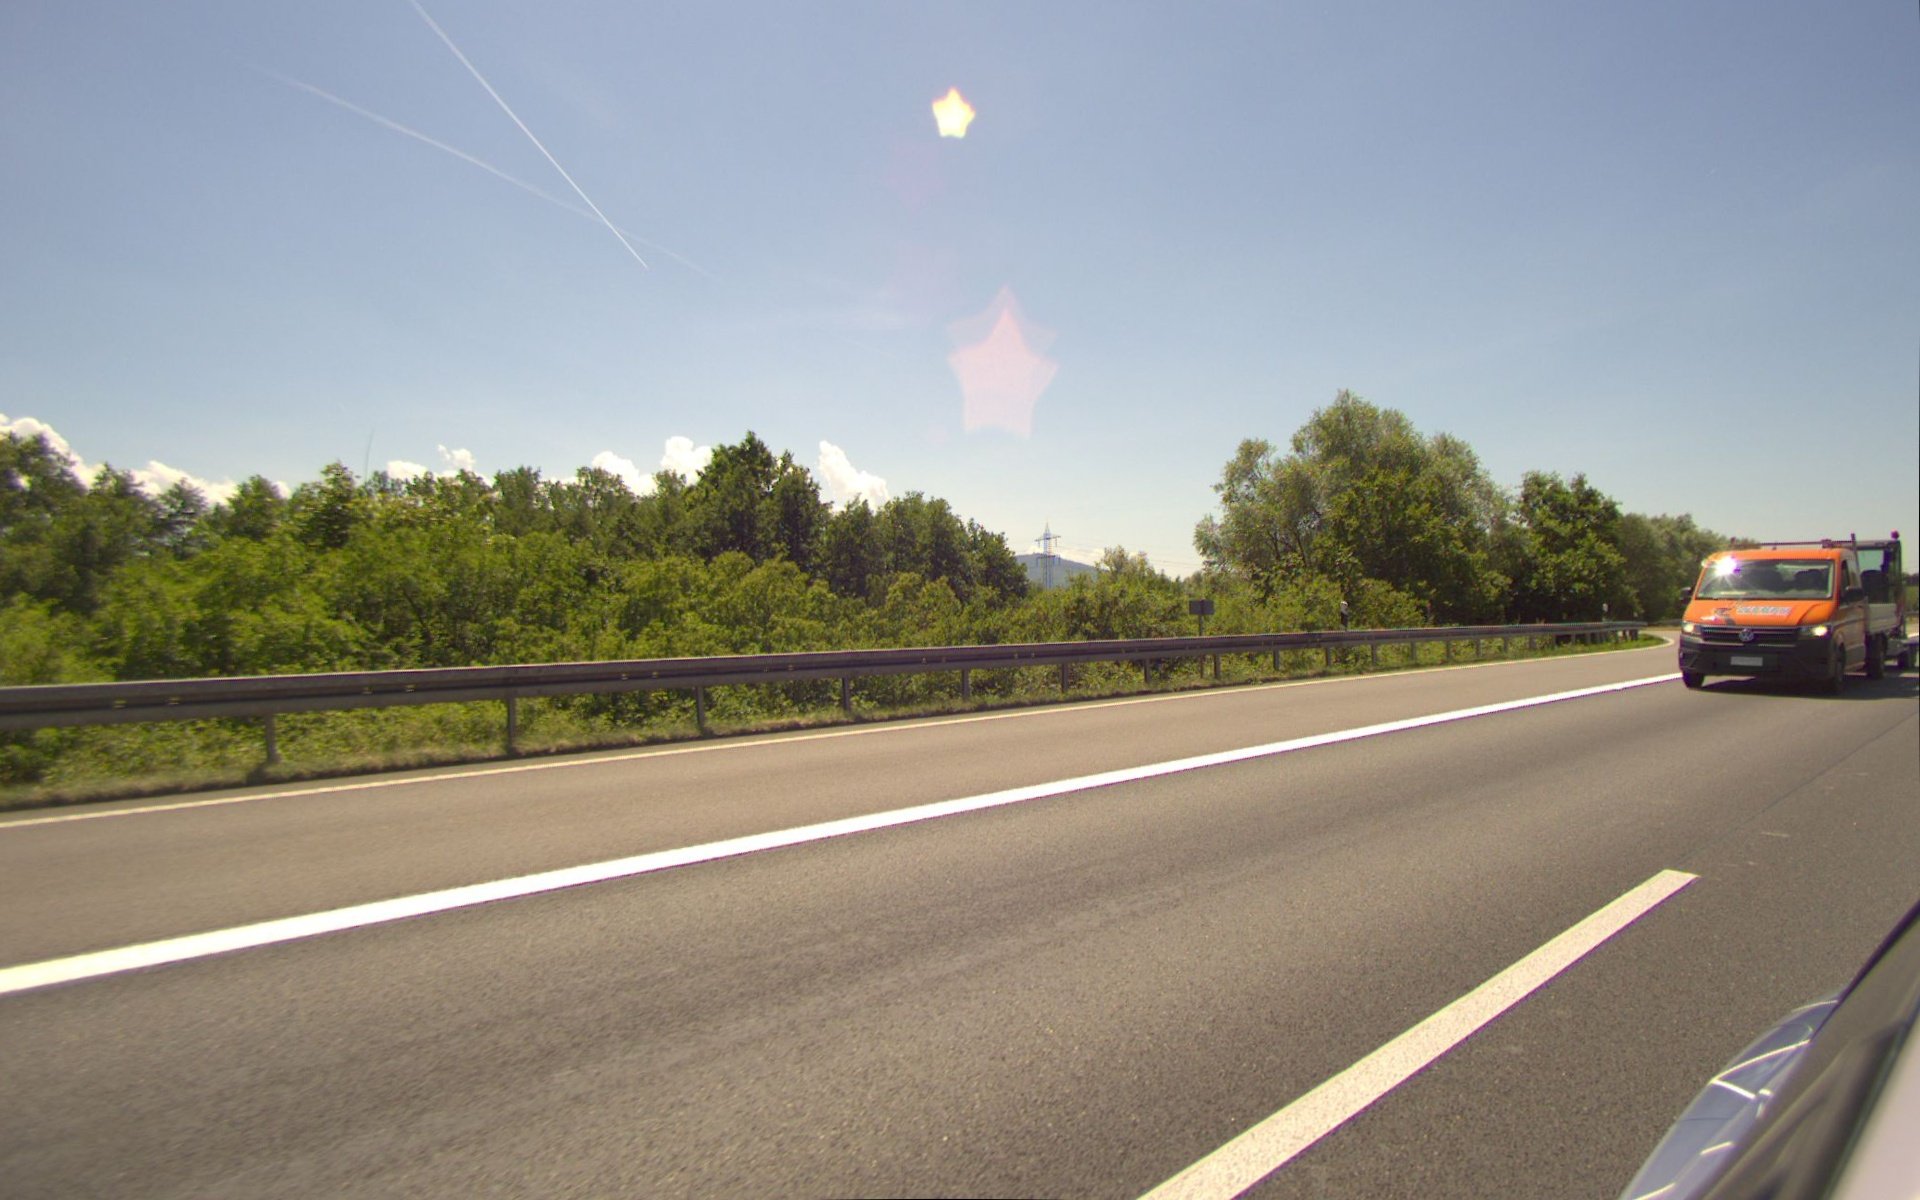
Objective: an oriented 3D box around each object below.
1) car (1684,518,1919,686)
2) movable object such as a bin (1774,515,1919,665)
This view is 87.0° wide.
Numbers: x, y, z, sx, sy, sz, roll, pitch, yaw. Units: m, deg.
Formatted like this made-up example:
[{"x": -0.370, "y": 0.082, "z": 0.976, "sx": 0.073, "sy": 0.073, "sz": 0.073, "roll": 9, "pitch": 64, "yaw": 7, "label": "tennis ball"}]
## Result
[{"x": 14.940, "y": 0.038, "z": 17.735, "sx": 7.098, "sy": 2.436, "sz": 1.997, "roll": 0, "pitch": 0, "yaw": -40, "label": "car"}, {"x": 19.322, "y": -0.193, "z": 21.592, "sx": 4.676, "sy": 2.851, "sz": 2.178, "roll": 0, "pitch": -1, "yaw": -40, "label": "movable object such as a bin"}]
